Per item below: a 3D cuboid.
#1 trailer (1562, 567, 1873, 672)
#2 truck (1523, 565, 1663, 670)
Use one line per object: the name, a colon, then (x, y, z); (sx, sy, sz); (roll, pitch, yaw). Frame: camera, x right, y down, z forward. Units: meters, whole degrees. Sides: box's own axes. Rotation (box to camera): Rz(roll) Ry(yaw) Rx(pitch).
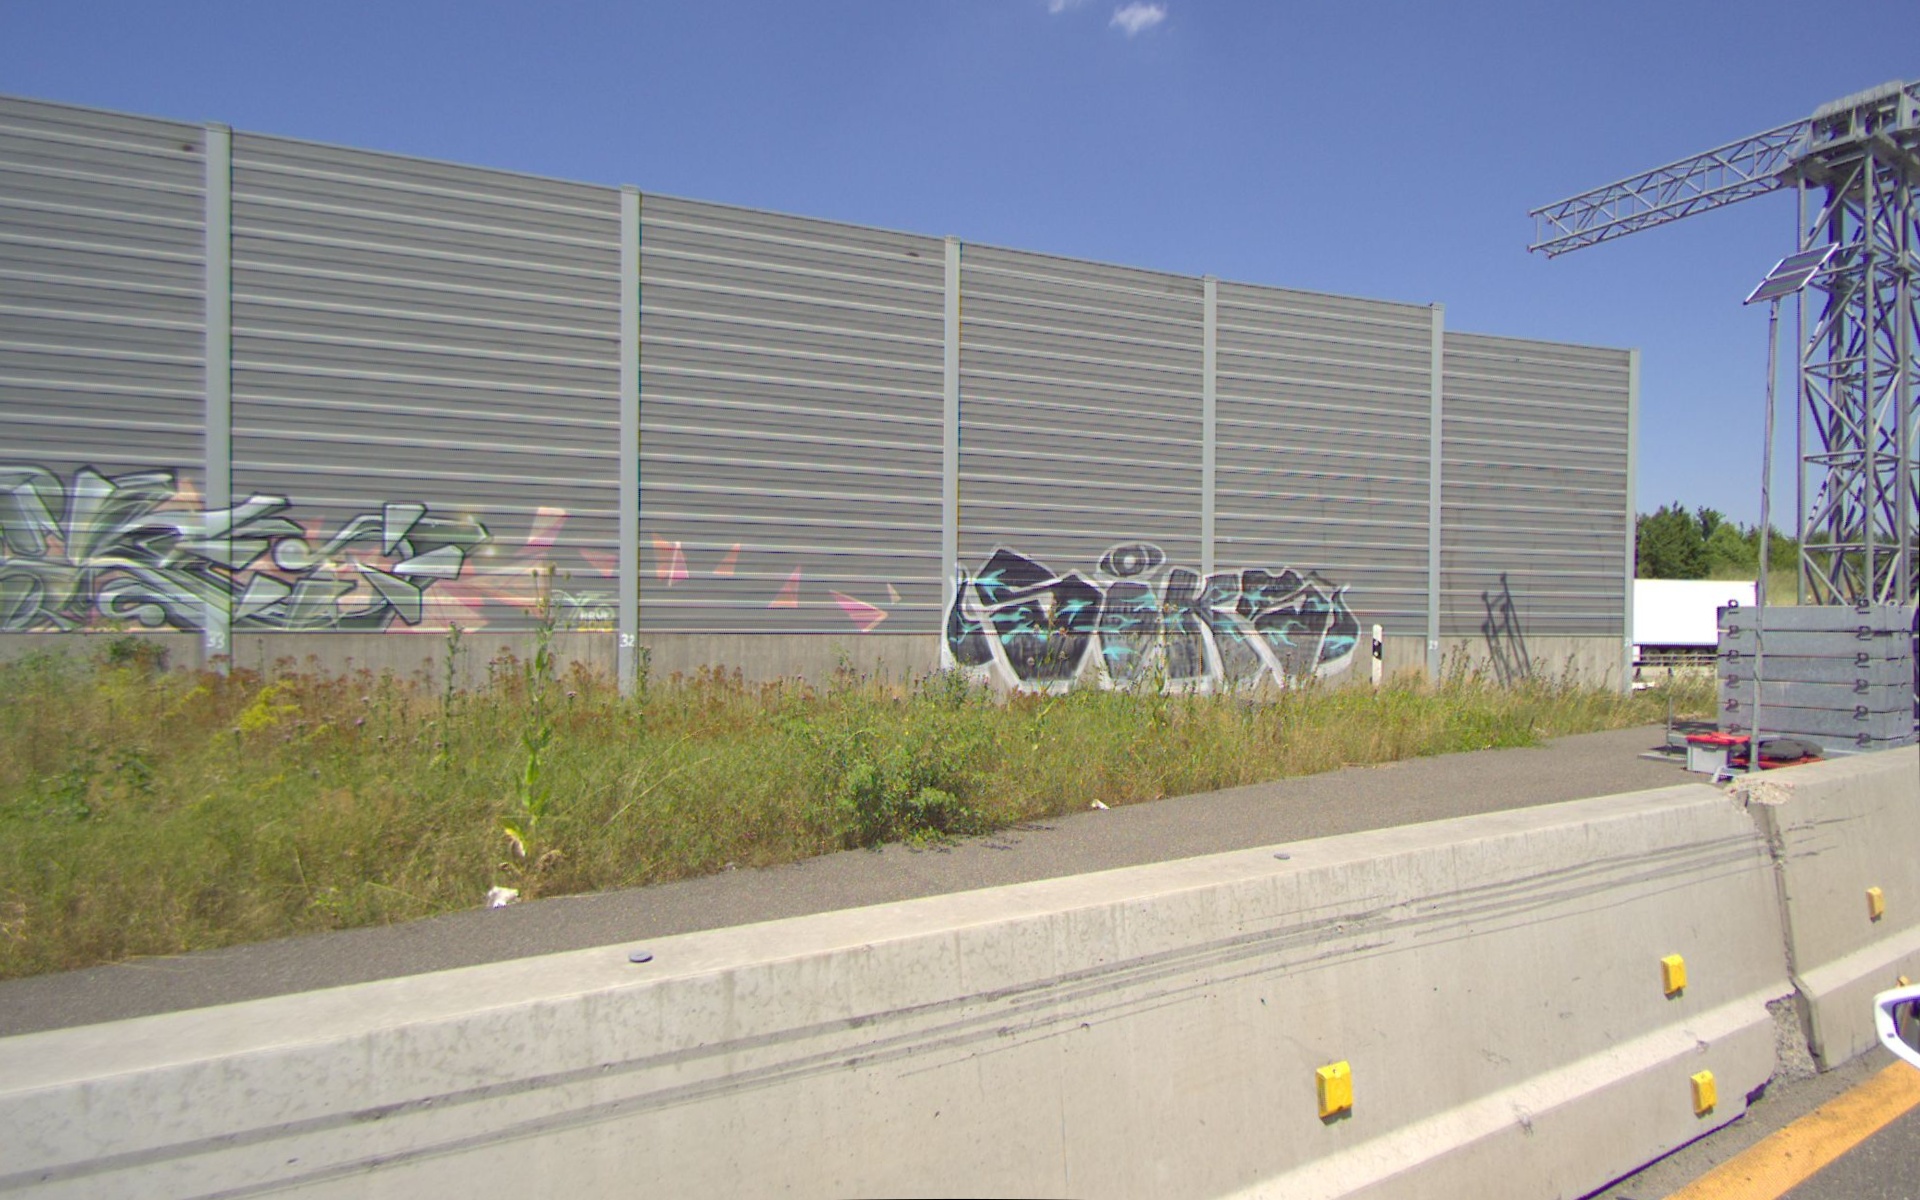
trailer: (35.629, 0.958, 47.188); (14.669, 4.560, 2.666); (1, 1, -12)
truck: (28.720, 0.779, 45.660); (4.758, 4.560, 2.666); (1, 1, -12)
